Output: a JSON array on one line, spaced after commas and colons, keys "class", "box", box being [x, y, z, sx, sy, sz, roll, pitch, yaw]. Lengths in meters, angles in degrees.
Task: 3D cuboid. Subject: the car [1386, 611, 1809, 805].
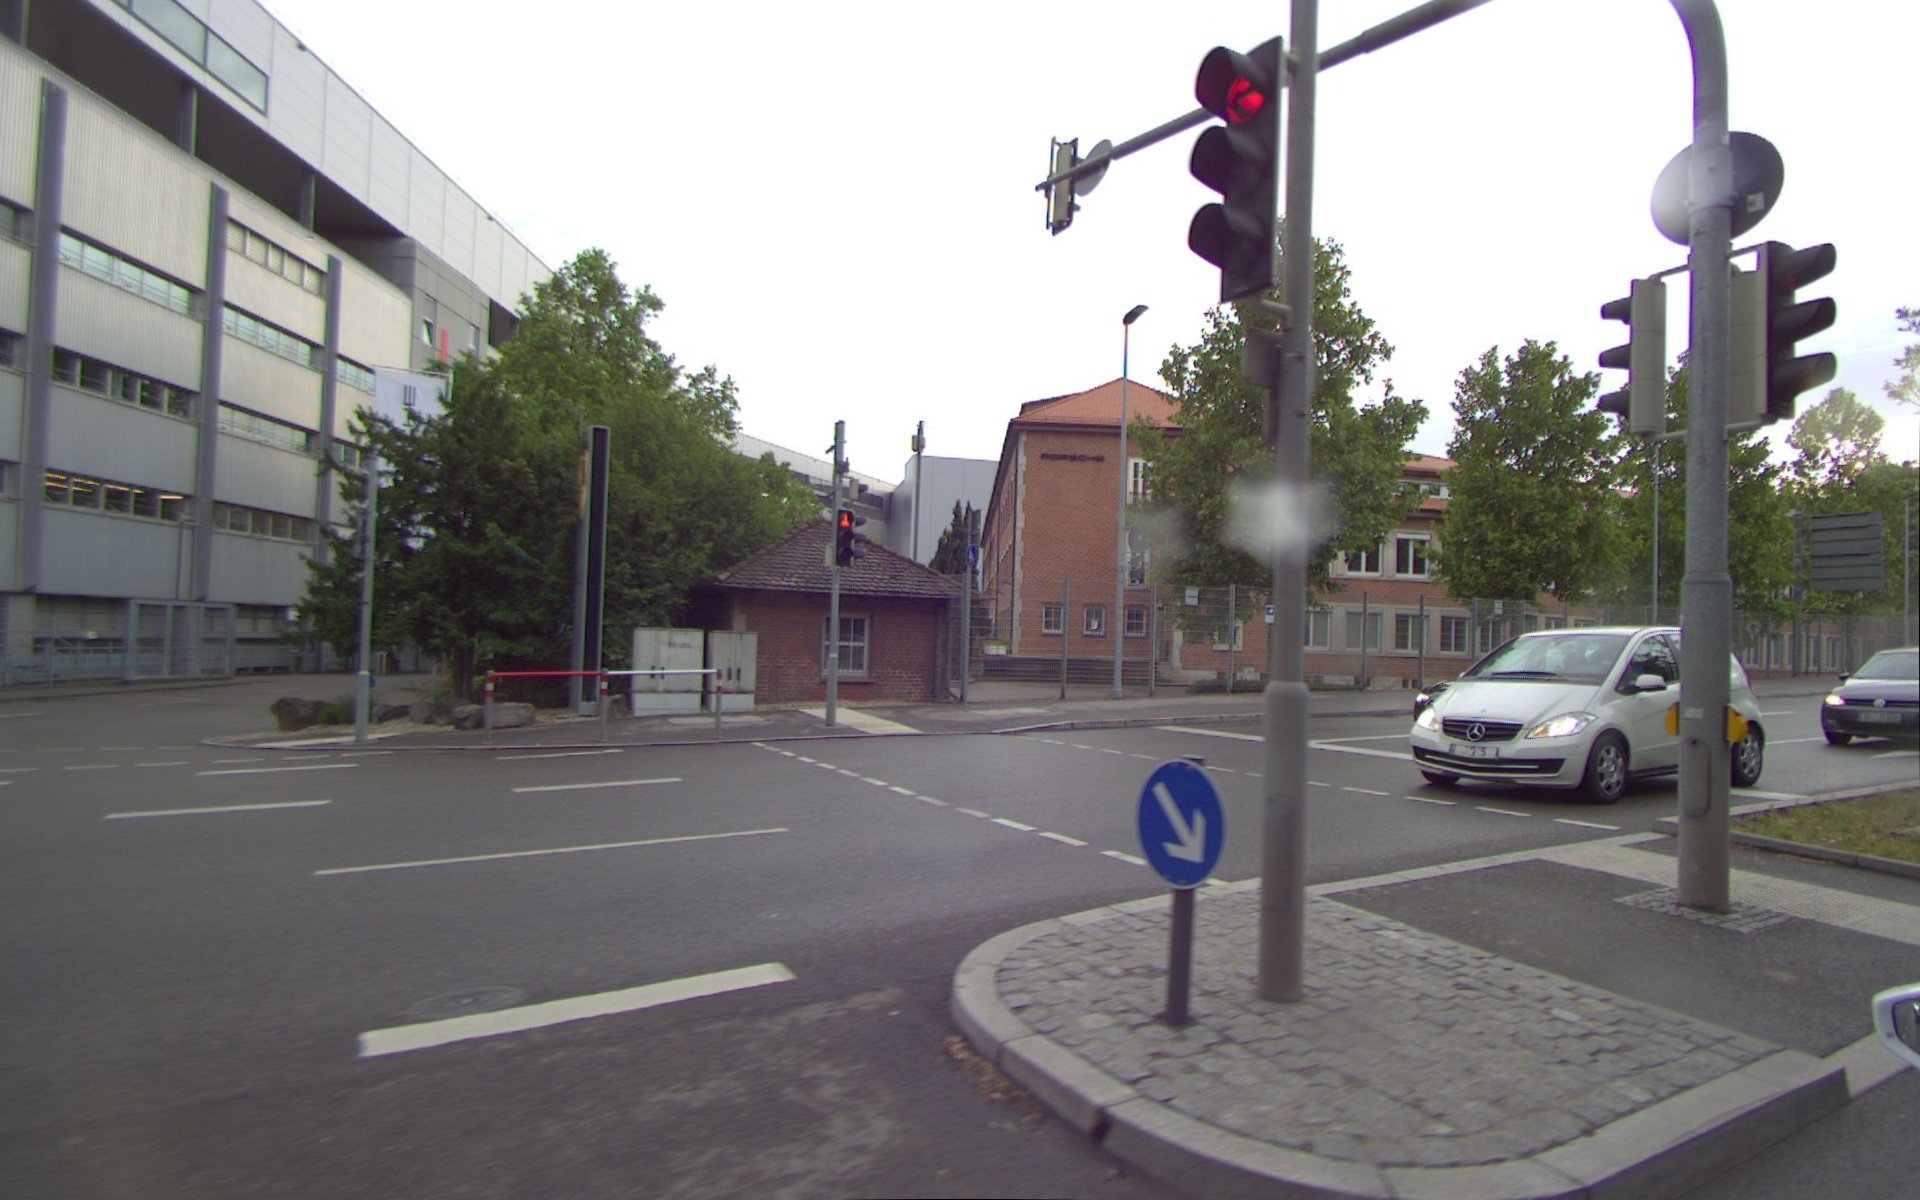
[{"class": "car", "box": [6.572, 1.012, 10.266, 4.431, 1.610, 1.764, 2, -3, -29]}]

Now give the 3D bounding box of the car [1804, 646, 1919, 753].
[{"class": "car", "box": [14.345, 1.410, 14.861, 4.063, 1.422, 1.570, 2, -3, -30]}]

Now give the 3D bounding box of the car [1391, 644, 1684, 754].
[{"class": "car", "box": [8.629, 1.381, 14.911, 4.561, 1.422, 1.765, 2, -3, -30]}]
